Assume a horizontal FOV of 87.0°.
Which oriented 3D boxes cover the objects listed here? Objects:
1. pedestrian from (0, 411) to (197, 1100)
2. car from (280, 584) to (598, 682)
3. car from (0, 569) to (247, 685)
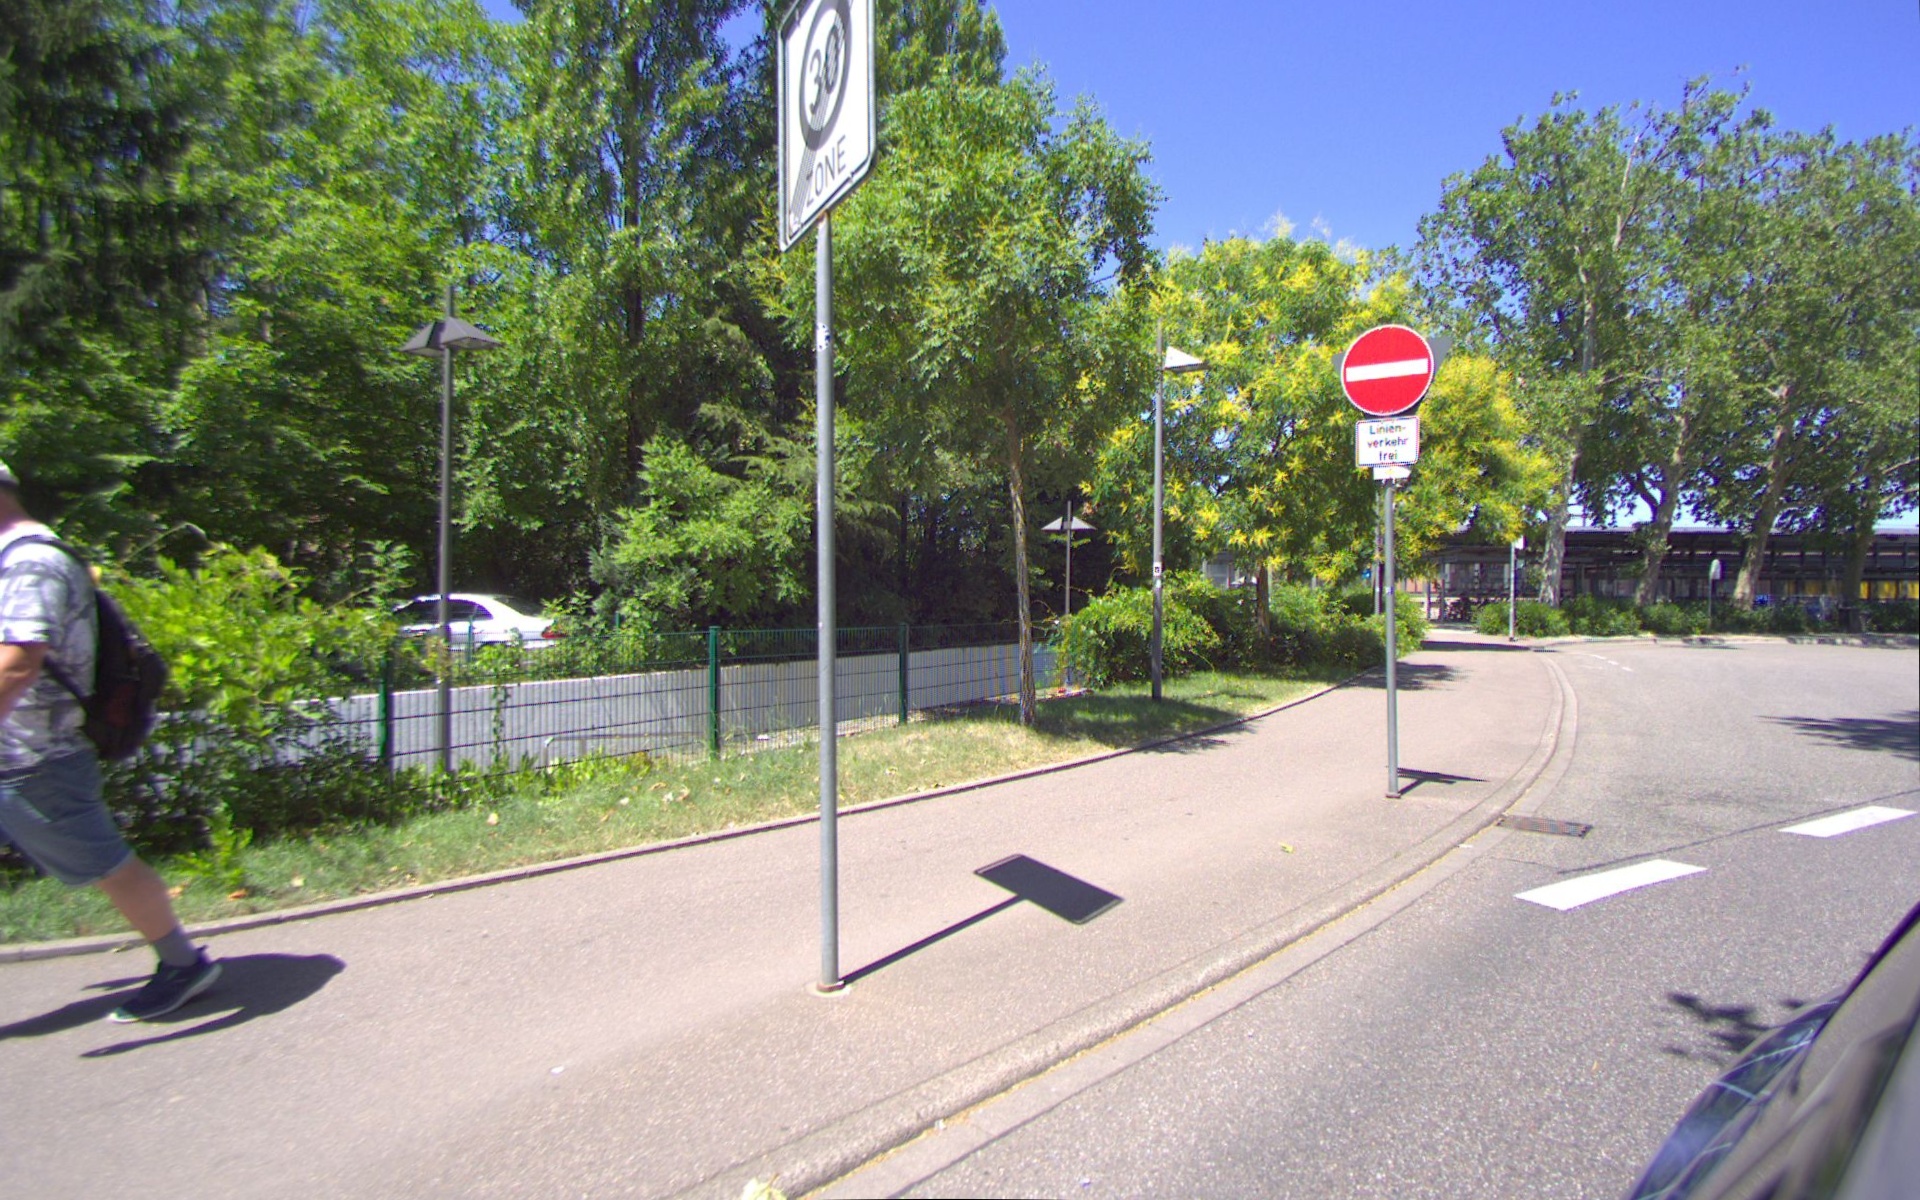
[{"bbox_3d":[-2.820,0.397,2.955,0.899,1.794,0.914,1,0,-40],"label":"pedestrian"},{"bbox_3d":[-8.571,0.519,16.913,4.415,1.518,1.770,0,0,1],"label":"car"},{"bbox_3d":[-12.867,0.353,14.750,3.899,1.555,1.653,0,0,5],"label":"car"}]
